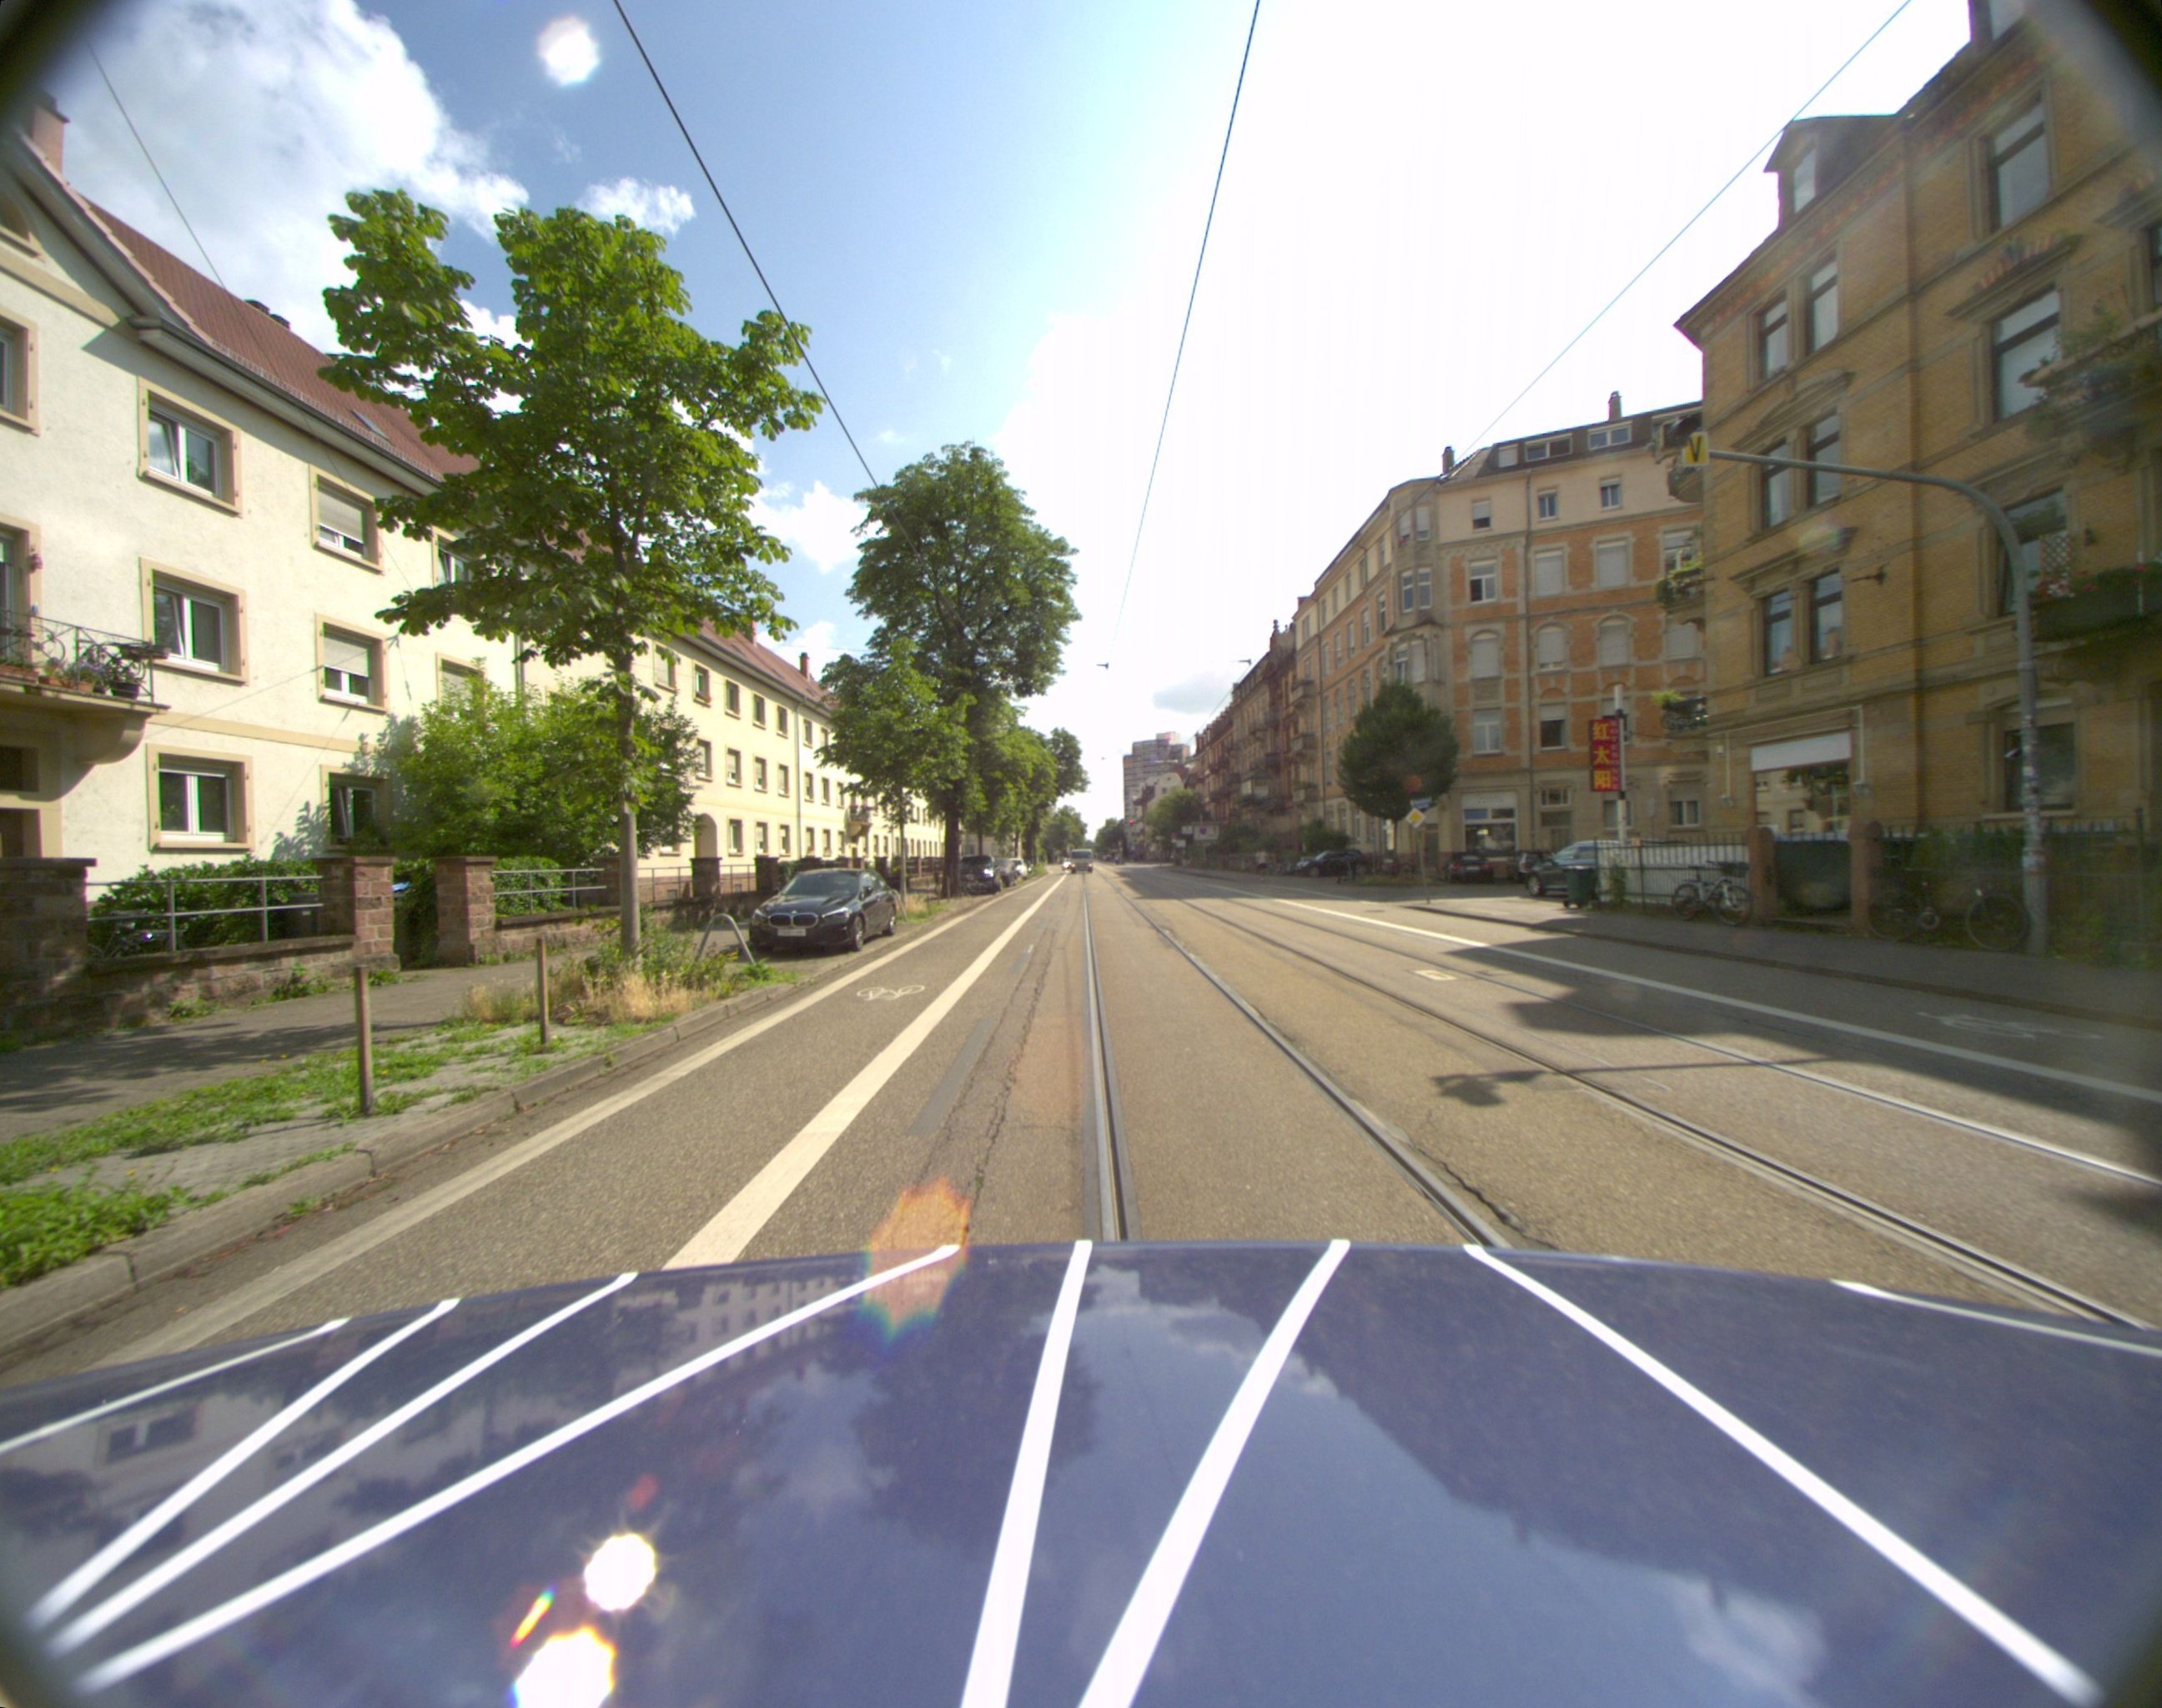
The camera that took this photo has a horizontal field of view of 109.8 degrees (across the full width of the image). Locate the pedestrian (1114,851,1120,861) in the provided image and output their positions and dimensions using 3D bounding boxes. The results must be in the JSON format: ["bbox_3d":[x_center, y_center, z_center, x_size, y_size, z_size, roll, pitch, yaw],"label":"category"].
[{"bbox_3d":[5.942,0.355,124.969,0.783,1.565,0.692,-2,0,-14],"label":"pedestrian"}]

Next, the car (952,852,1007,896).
[{"bbox_3d":[-4.476,0.839,34.141,1.832,1.772,4.733,-1,0,0],"label":"car"}]

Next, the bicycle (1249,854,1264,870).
[{"bbox_3d":[11.076,0.504,47.999,0.422,0.971,1.949,-2,0,0],"label":"bicycle"}]

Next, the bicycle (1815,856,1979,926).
[{"bbox_3d":[11.966,0.533,11.165,1.967,0.941,0.531,-2,1,-4],"label":"bicycle"}]

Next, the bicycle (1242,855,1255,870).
[{"bbox_3d":[11.333,0.558,51.451,0.422,0.927,1.949,-2,0,0],"label":"bicycle"}]

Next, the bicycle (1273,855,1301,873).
[{"bbox_3d":[11.732,0.562,43.311,1.456,0.971,0.404,-1,0,0],"label":"bicycle"}]

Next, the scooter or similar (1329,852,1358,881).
[{"bbox_3d":[12.074,0.566,34.893,1.367,1.228,0.403,-3,1,-28],"label":"scooter or similar"}]

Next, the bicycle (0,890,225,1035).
[{"bbox_3d":[-9.914,1.019,7.648,0.601,1.204,1.704,-2,0,1],"label":"bicycle"}]

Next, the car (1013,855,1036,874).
[{"bbox_3d":[-4.714,0.865,63.708,1.665,1.512,4.287,-2,0,-1],"label":"car"}]

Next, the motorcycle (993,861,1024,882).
[{"bbox_3d":[-4.822,1.160,50.909,2.012,1.329,0.747,-2,1,-4],"label":"motorcycle"}]

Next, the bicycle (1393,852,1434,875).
[{"bbox_3d":[16.164,0.441,36.950,1.695,1.057,0.525,-2,0,11],"label":"bicycle"}]

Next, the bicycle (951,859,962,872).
[{"bbox_3d":[-11.059,1.004,67.675,0.626,1.128,1.801,-2,0,0],"label":"bicycle"}]

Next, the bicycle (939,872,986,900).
[{"bbox_3d":[-4.570,1.239,29.394,1.712,1.001,0.638,-1,1,0],"label":"bicycle"}]

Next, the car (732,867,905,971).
[{"bbox_3d":[-4.735,1.088,14.401,1.710,1.470,4.196,-4,1,0],"label":"car"}]

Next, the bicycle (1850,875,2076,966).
[{"bbox_3d":[10.851,0.769,9.470,0.531,0.941,1.967,-2,0,0],"label":"bicycle"}]

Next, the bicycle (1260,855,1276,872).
[{"bbox_3d":[11.211,0.537,45.538,0.422,0.971,1.949,-2,0,0],"label":"bicycle"}]

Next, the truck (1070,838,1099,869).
[{"bbox_3d":[0.255,-0.007,72.321,2.532,2.722,6.514,-2,0,-1],"label":"truck"}]

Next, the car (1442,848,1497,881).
[{"bbox_3d":[17.270,0.439,33.945,1.641,1.352,3.932,-1,0,19],"label":"car"}]

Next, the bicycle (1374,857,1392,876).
[{"bbox_3d":[14.118,0.589,35.571,0.524,0.833,1.700,-2,0,13],"label":"bicycle"}]

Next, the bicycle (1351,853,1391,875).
[{"bbox_3d":[14.322,0.487,37.486,1.759,1.057,0.524,-2,0,-5],"label":"bicycle"}]

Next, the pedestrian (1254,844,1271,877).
[{"bbox_3d":[9.840,0.354,41.186,0.534,1.750,1.105,-4,1,0],"label":"pedestrian"}]

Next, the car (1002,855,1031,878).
[{"bbox_3d":[-4.670,0.886,55.175,1.746,1.571,4.248,-2,0,-1],"label":"car"}]

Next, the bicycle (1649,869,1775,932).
[{"bbox_3d":[10.815,0.765,13.118,0.531,0.941,1.967,-2,0,0],"label":"bicycle"}]

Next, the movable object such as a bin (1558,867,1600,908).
[{"bbox_3d":[11.418,0.769,17.437,0.526,0.900,0.636,-1,1,-1],"label":"movable object such as a bin"}]

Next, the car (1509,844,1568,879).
[{"bbox_3d":[19.773,0.316,32.981,1.641,1.407,3.794,-1,0,23],"label":"car"}]

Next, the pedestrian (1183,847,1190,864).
[{"bbox_3d":[10.570,0.132,75.950,0.489,1.693,1.151,-2,1,-2],"label":"pedestrian"}]

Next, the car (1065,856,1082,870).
[{"bbox_3d":[-0.880,1.022,91.375,1.751,1.471,3.653,-4,1,1],"label":"car"}]

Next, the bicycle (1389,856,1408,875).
[{"bbox_3d":[14.654,0.535,35.067,0.524,0.833,1.700,-2,0,13],"label":"bicycle"}]

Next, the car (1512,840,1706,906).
[{"bbox_3d":[13.304,0.412,19.587,1.690,1.451,4.764,-1,0,0],"label":"car"}]

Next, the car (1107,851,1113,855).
[{"bbox_3d":[9.317,-0.305,242.959,1.841,1.482,3.891,-2,0,0],"label":"car"}]

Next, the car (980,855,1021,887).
[{"bbox_3d":[-4.588,0.924,43.972,1.867,1.643,4.637,-2,0,0],"label":"car"}]

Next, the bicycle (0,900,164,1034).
[{"bbox_3d":[-10.620,1.125,7.674,0.601,1.204,1.704,-2,0,1],"label":"bicycle"}]

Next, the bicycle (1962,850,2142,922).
[{"bbox_3d":[13.644,0.434,10.695,1.967,0.941,0.531,-2,1,-3],"label":"bicycle"}]

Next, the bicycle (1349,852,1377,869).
[{"bbox_3d":[16.241,0.367,43.728,1.456,0.971,0.404,-1,0,0],"label":"bicycle"}]

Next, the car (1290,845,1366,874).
[{"bbox_3d":[13.504,0.294,41.650,3.611,1.395,1.787,-2,0,4],"label":"car"}]
